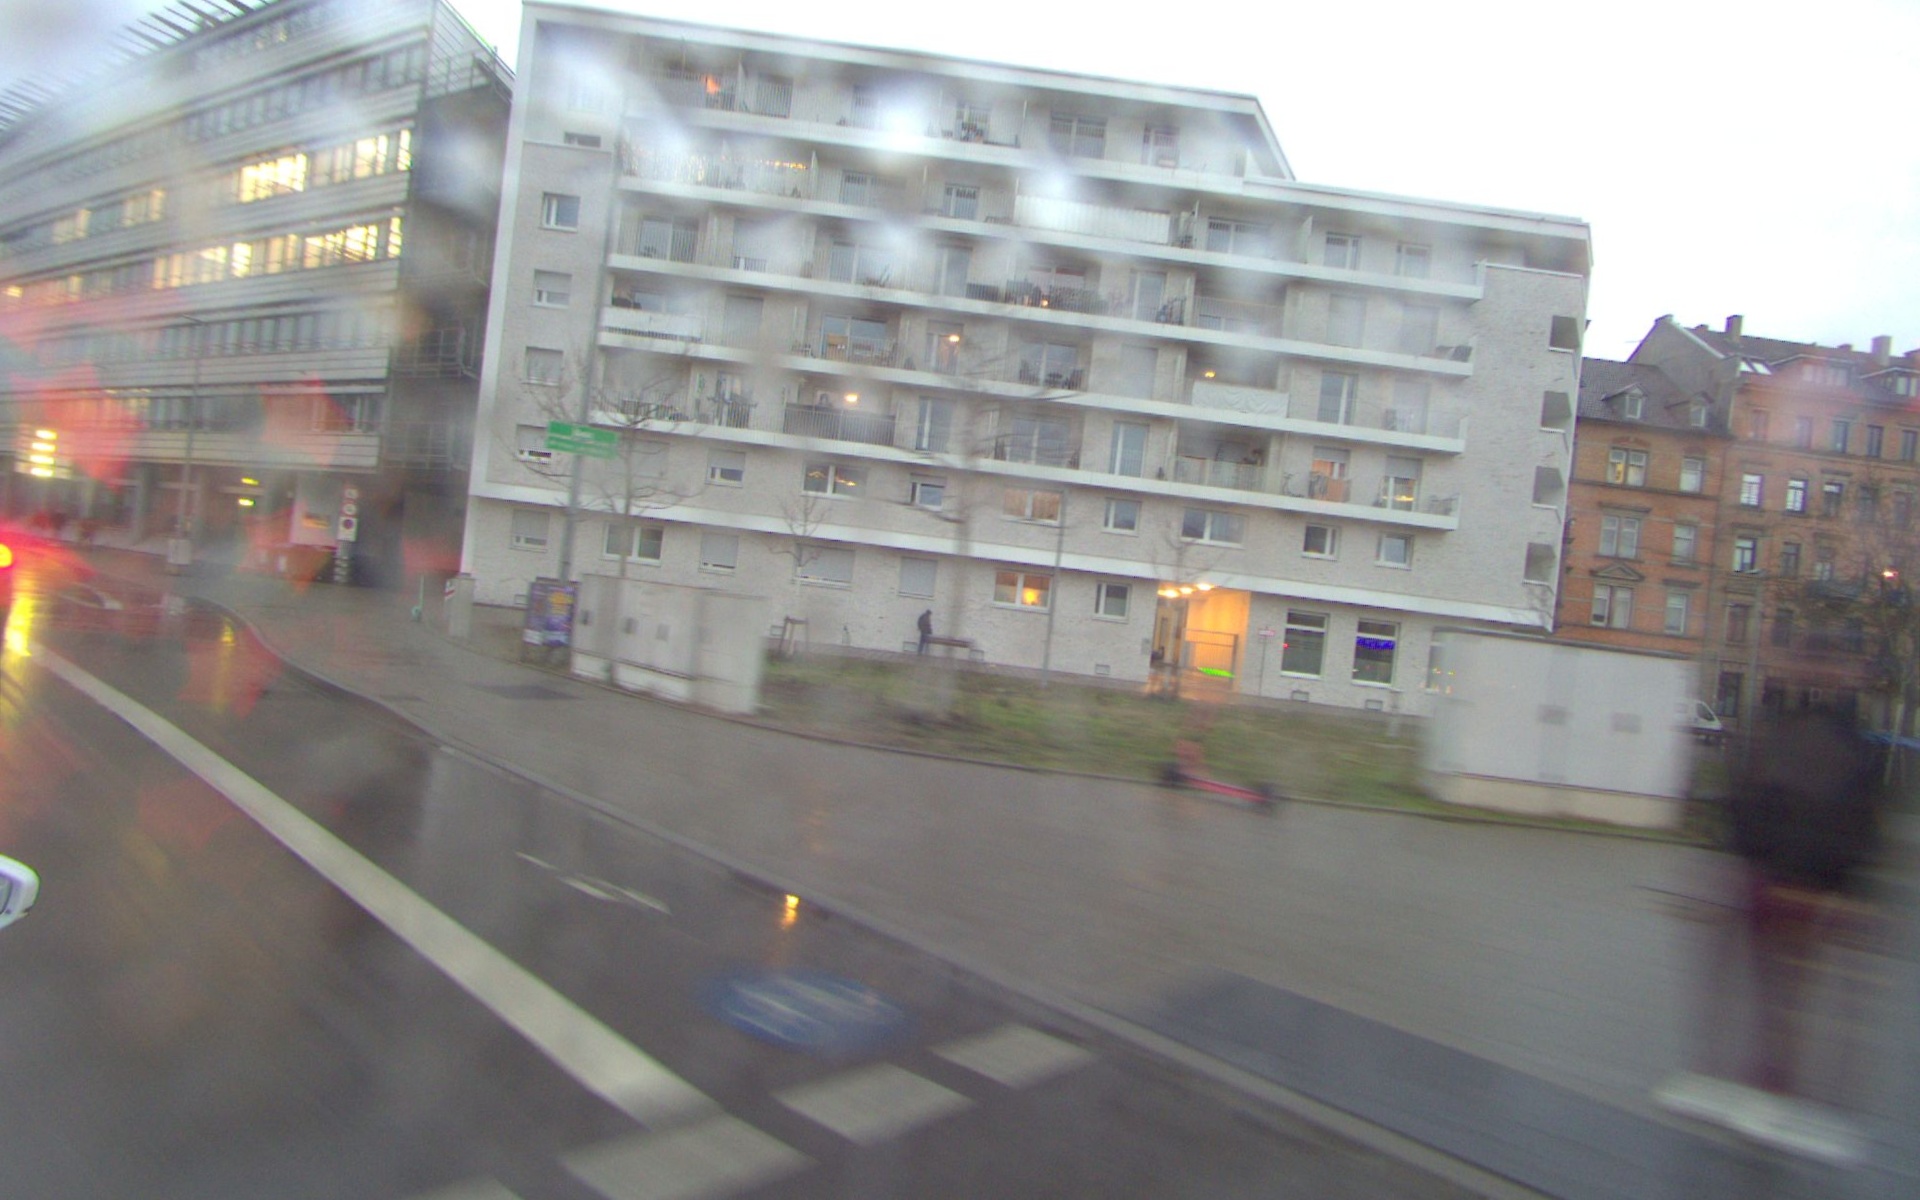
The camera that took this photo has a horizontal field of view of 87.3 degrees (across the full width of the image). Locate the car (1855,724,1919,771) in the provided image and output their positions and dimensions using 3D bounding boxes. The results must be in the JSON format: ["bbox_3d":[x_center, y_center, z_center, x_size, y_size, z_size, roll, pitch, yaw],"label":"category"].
[{"bbox_3d":[39.415,6.195,40.917,1.725,1.588,4.122,7,-1,-32],"label":"car"}]

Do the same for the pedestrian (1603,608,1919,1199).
[{"bbox_3d":[3.048,1.025,3.701,0.627,1.900,0.771,7,0,-26],"label":"pedestrian"}]

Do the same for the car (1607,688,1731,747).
[{"bbox_3d":[34.723,5.749,49.317,4.577,2.215,1.999,7,-1,-4],"label":"car"}]

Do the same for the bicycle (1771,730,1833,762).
[{"bbox_3d":[33.639,5.816,40.218,0.440,0.943,1.784,6,1,-25],"label":"bicycle"}]

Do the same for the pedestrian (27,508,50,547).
[{"bbox_3d":[-42.195,-3.319,46.044,0.734,1.703,0.531,6,0,38],"label":"pedestrian"}]

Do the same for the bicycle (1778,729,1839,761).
[{"bbox_3d":[34.115,5.820,40.465,0.440,0.943,1.784,6,1,-25],"label":"bicycle"}]

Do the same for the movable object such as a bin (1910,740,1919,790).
[{"bbox_3d":[28.890,4.928,29.348,1.202,1.449,1.054,7,0,4],"label":"movable object such as a bin"}]

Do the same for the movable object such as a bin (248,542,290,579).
[{"bbox_3d":[-27.340,-1.574,39.811,1.148,1.311,0.845,6,1,27],"label":"movable object such as a bin"}]

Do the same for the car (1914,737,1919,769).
[{"bbox_3d":[41.853,6.583,41.211,1.725,1.321,3.658,7,-1,-32],"label":"car"}]

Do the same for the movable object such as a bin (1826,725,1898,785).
[{"bbox_3d":[27.569,4.728,30.770,1.119,1.594,1.053,7,0,4],"label":"movable object such as a bin"}]

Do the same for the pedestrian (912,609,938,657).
[{"bbox_3d":[-1.270,1.197,36.317,0.623,1.652,0.720,7,0,-15],"label":"pedestrian"}]

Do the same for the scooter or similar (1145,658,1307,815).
[{"bbox_3d":[2.435,1.225,9.252,1.286,1.221,0.333,6,0,27],"label":"scooter or similar"}]

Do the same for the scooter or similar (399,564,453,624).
[{"bbox_3d":[-11.902,-0.140,22.407,0.665,1.241,1.540,6,-2,-40],"label":"scooter or similar"}]

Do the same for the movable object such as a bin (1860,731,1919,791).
[{"bbox_3d":[27.403,4.705,29.332,1.229,1.528,1.053,7,0,4],"label":"movable object such as a bin"}]

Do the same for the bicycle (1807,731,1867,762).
[{"bbox_3d":[36.692,6.141,42.126,0.440,0.943,1.784,6,1,-25],"label":"bicycle"}]

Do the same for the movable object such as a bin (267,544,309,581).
[{"bbox_3d":[-26.183,-1.450,39.181,1.148,1.311,0.845,6,1,27],"label":"movable object such as a bin"}]

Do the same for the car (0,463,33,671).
[{"bbox_3d":[-10.279,-0.491,9.466,3.943,1.801,1.672,6,-1,40],"label":"car"}]
